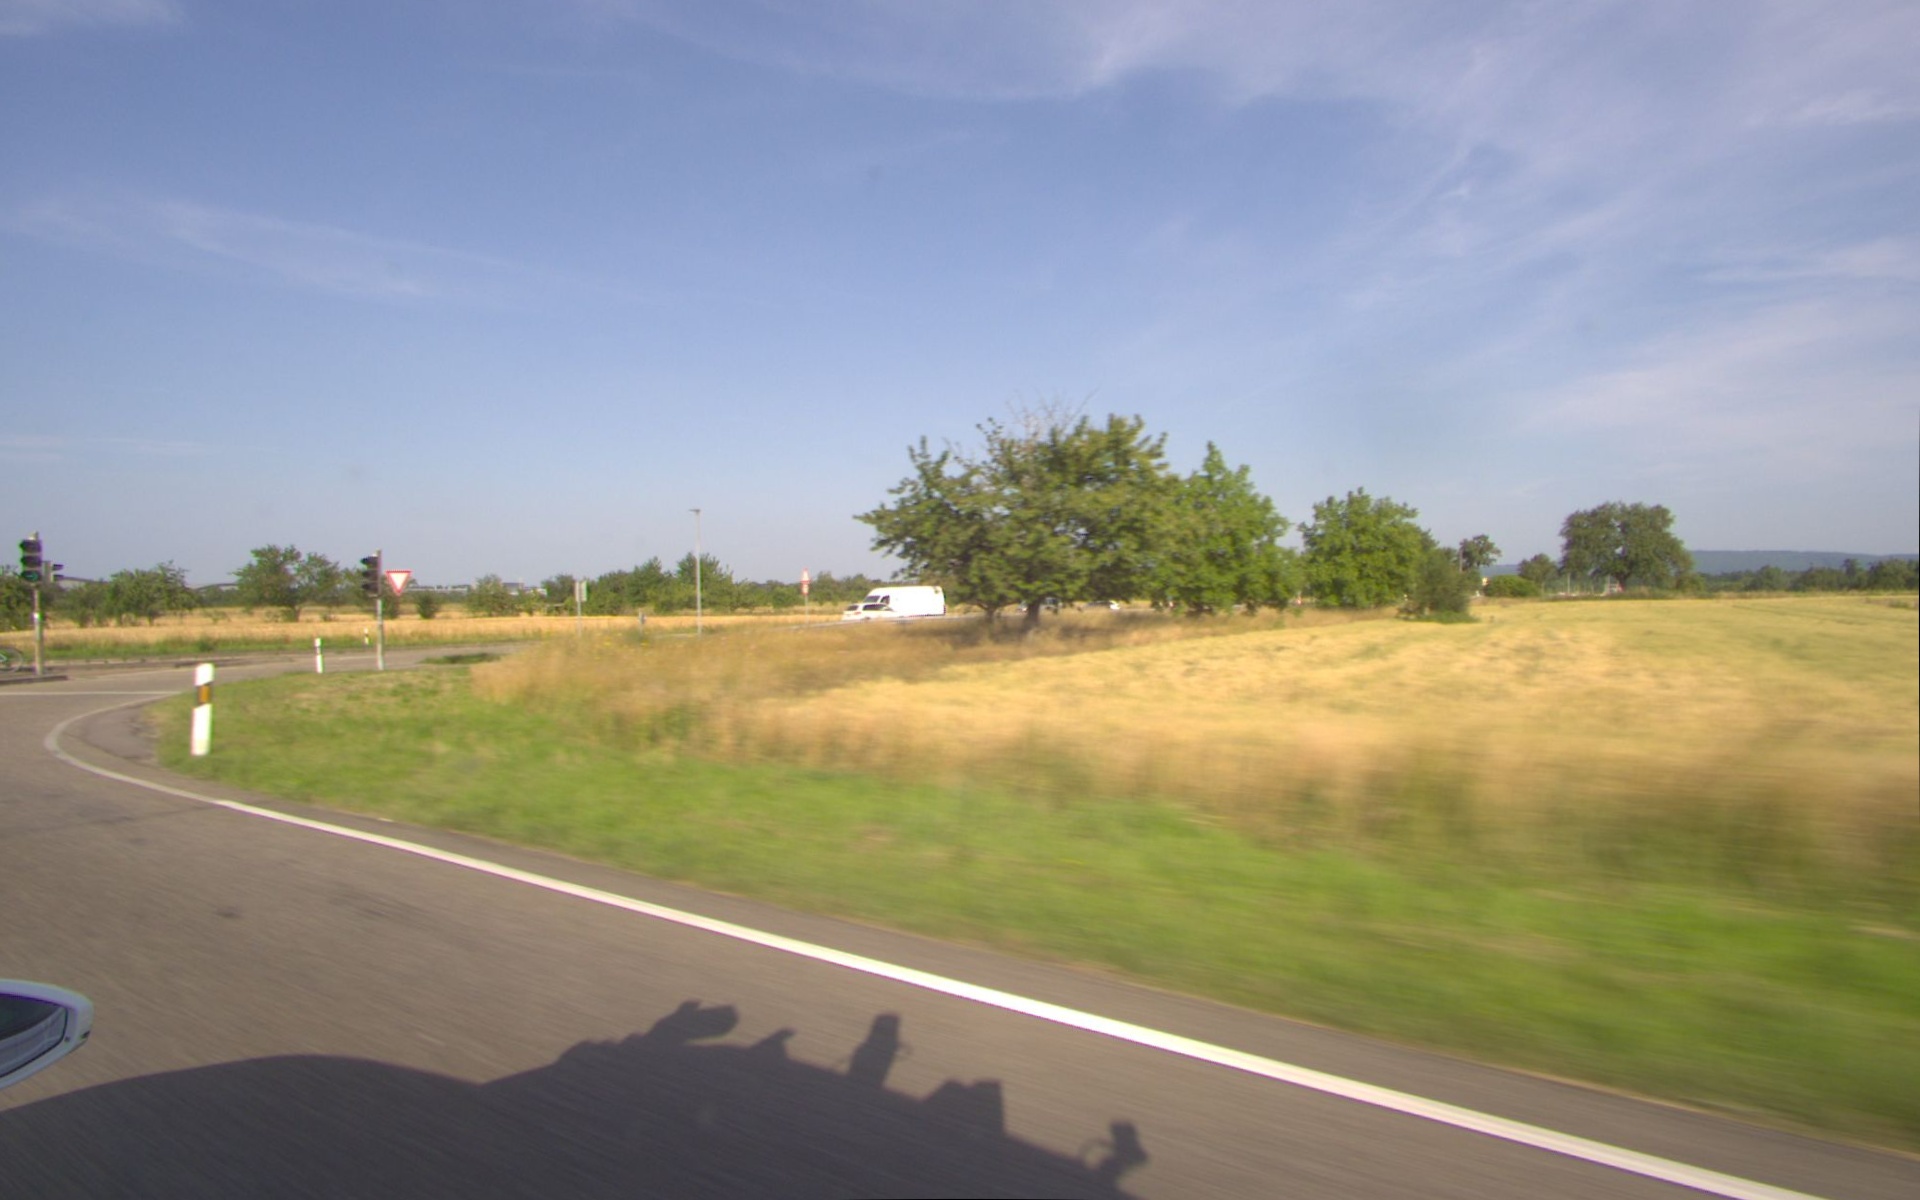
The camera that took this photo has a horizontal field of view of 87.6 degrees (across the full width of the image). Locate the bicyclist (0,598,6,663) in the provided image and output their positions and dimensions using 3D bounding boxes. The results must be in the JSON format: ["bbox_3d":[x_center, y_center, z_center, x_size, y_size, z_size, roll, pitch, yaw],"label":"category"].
[{"bbox_3d":[-26.705,0.816,27.333,0.788,1.778,0.845,0,-1,37],"label":"bicyclist"}]

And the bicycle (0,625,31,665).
[{"bbox_3d":[-26.776,1.227,27.271,0.798,1.103,2.088,0,-1,39],"label":"bicycle"}]

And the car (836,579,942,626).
[{"bbox_3d":[-4.552,0.236,65.313,6.968,2.831,2.298,2,-1,-42],"label":"car"}]

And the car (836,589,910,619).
[{"bbox_3d":[-5.027,0.258,58.106,3.952,1.618,1.847,2,-1,-37],"label":"car"}]
